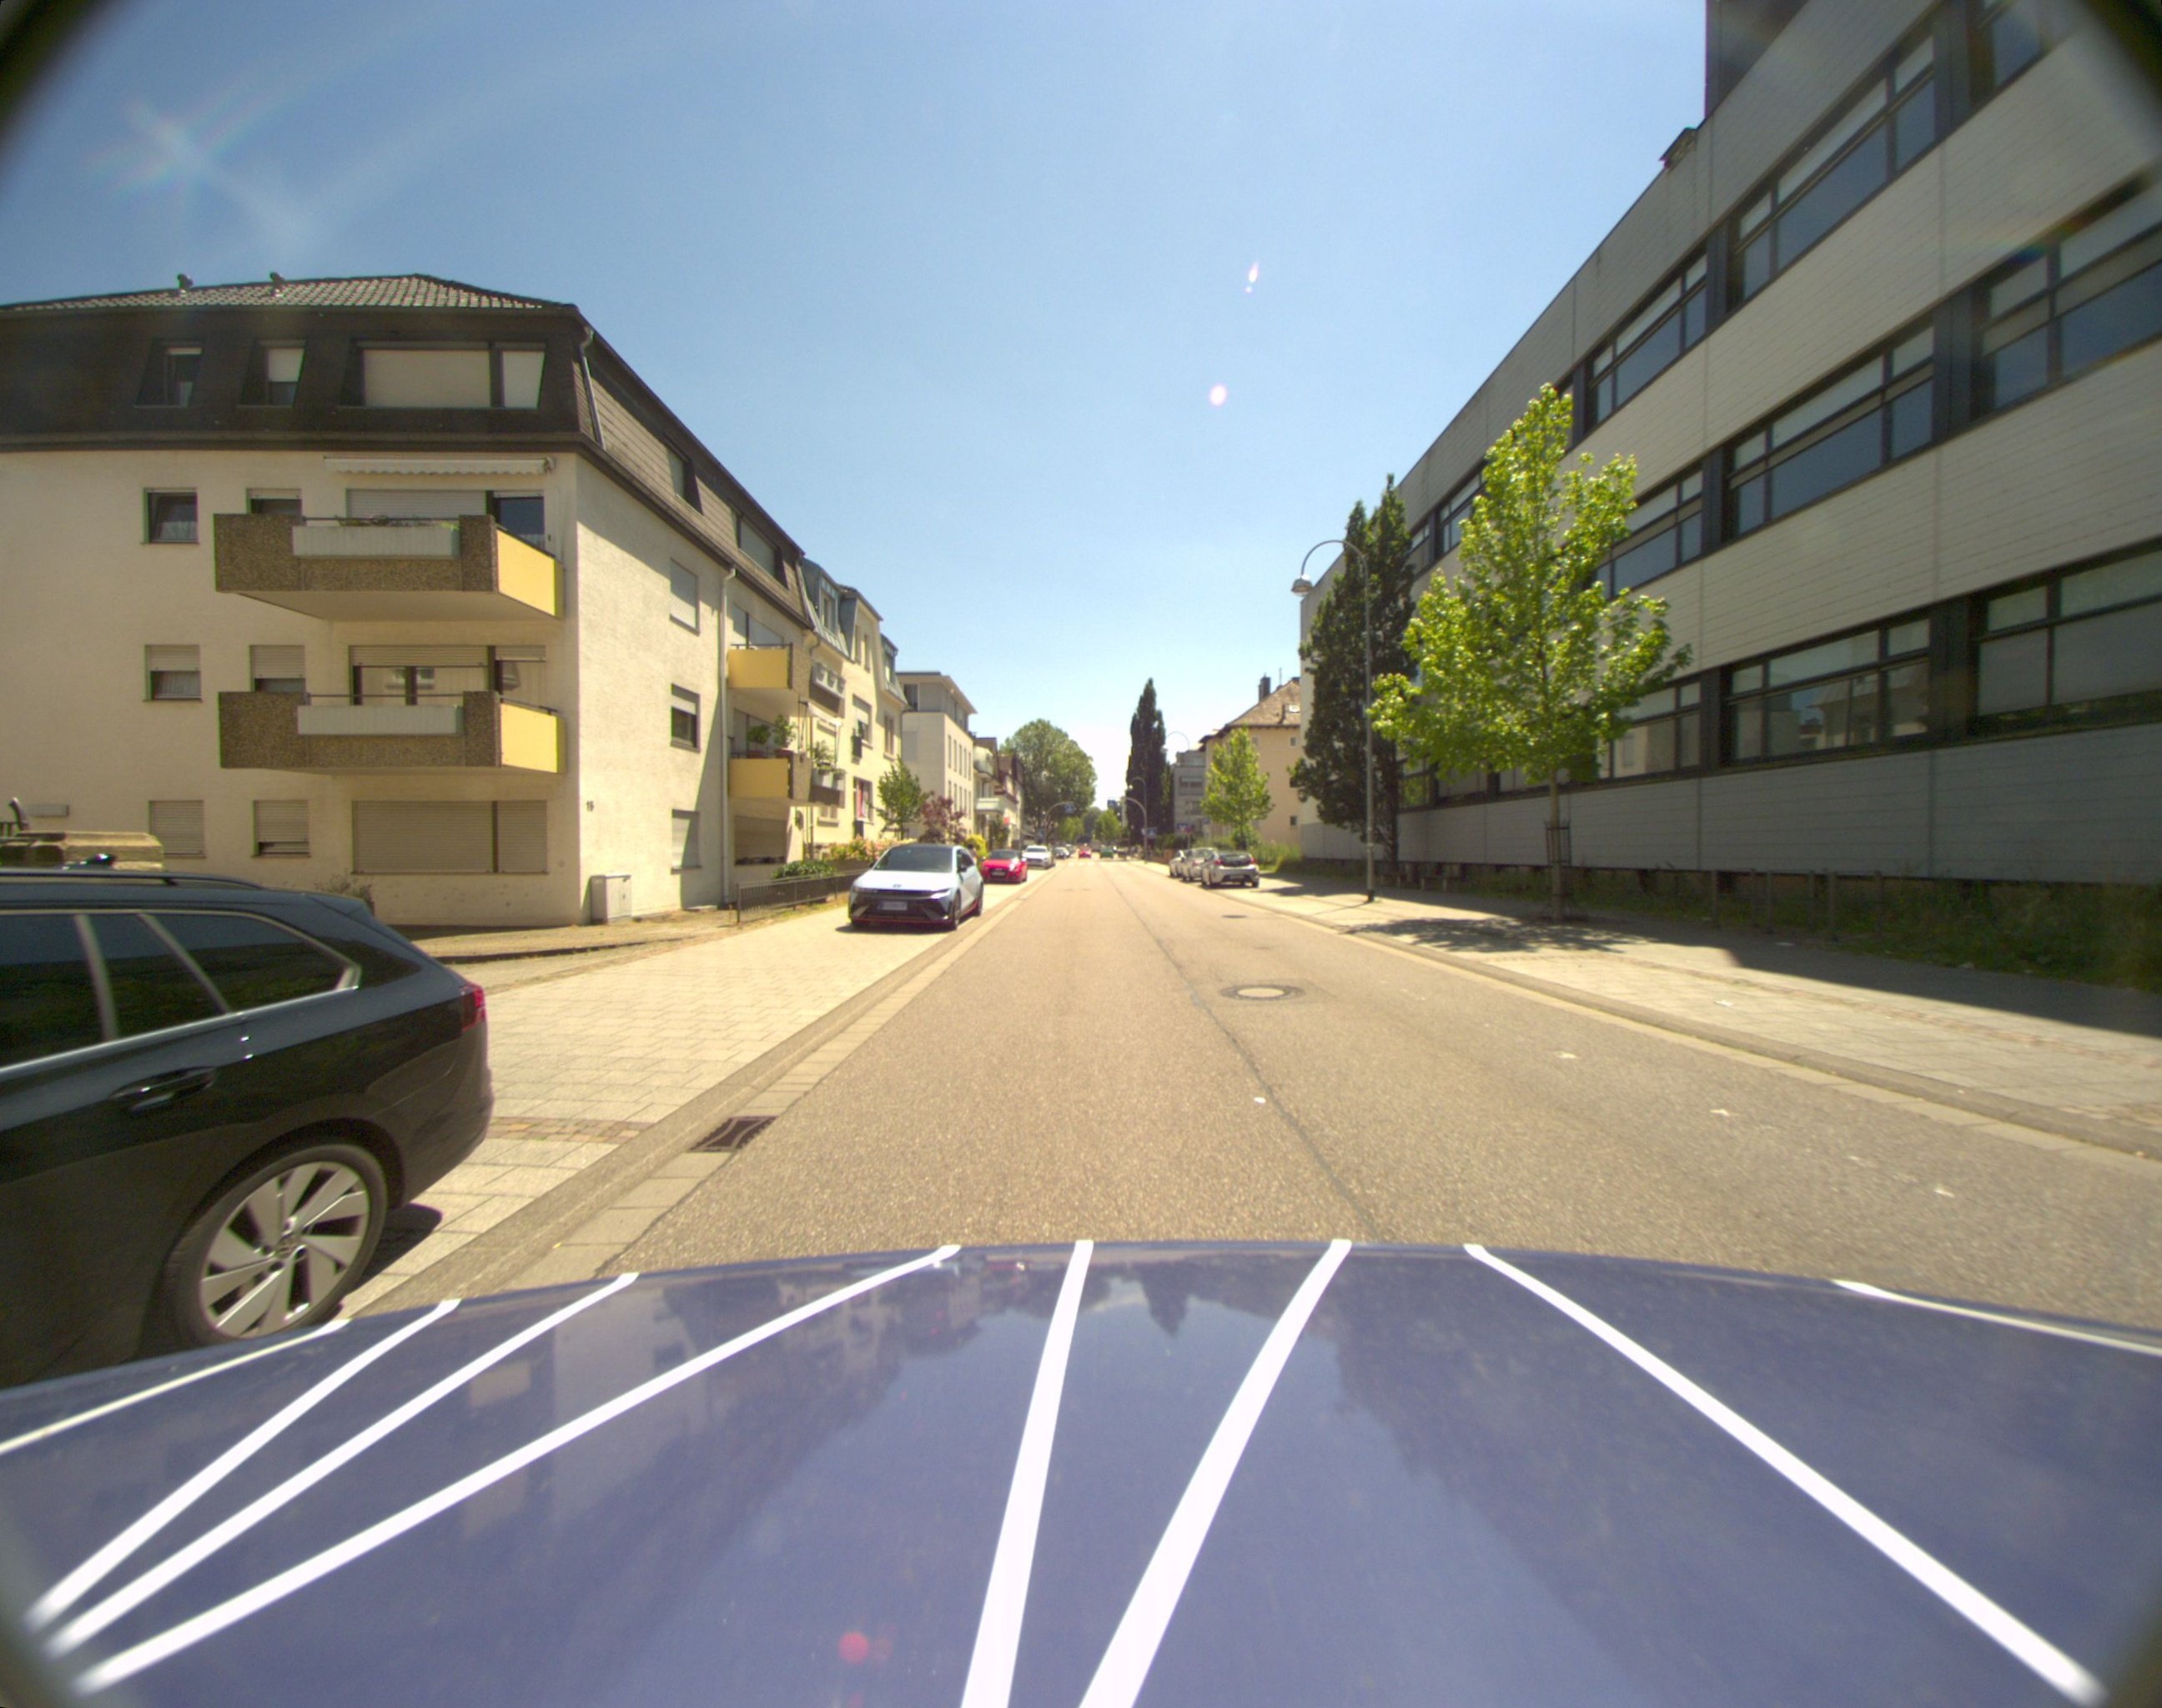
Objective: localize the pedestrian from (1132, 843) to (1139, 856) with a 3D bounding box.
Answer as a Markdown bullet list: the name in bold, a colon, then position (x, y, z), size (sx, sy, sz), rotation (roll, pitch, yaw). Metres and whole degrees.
- **pedestrian**: position (6.972, -0.619, 97.620), size (0.847, 1.636, 0.751), rotation (-3, 2, 2)

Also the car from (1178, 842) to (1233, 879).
- **car**: position (5.663, 0.244, 35.106), size (1.827, 1.503, 4.289), rotation (-2, 1, 1)

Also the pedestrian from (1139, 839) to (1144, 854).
- **pedestrian**: position (6.707, -0.810, 84.364), size (0.538, 1.676, 0.708), rotation (-1, 2, 0)

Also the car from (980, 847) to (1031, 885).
- **car**: position (-3.165, 0.457, 32.576), size (1.607, 1.432, 3.853), rotation (3, 1, 2)

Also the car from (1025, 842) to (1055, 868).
- **car**: position (-2.881, 0.048, 53.644), size (1.709, 1.656, 4.580), rotation (3, 0, 1)

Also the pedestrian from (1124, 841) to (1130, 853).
- **pedestrian**: position (6.401, -0.978, 105.677), size (0.622, 1.667, 0.903), rotation (-2, 1, 0)

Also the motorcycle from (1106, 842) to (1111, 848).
- **motorcycle**: position (4.431, -1.451, 122.556), size (0.700, 1.101, 1.790), rotation (0, 1, 1)

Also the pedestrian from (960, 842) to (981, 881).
- **pedestrian**: position (-4.902, 0.315, 33.705), size (0.742, 1.660, 0.705), rotation (2, 1, -1)

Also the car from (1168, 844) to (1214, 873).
- **car**: position (5.761, 0.196, 40.288), size (1.827, 1.403, 4.576), rotation (-2, 1, 1)

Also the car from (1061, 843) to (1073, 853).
- **car**: position (-1.992, -0.835, 105.686), size (1.562, 1.333, 4.172), rotation (1, 1, 0)

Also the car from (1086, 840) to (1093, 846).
- **car**: position (2.454, -3.253, 216.758), size (1.732, 1.500, 4.291), rotation (-1, 3, -1)

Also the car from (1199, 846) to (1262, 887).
- **car**: position (5.717, 0.426, 29.429), size (1.752, 1.401, 3.933), rotation (-2, 1, 2)

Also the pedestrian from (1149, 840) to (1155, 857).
- **pedestrian**: position (6.879, -0.557, 73.582), size (0.538, 1.676, 0.708), rotation (-1, 2, 0)

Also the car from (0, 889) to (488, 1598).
- **car**: position (-3.204, 0.917, 0.813), size (1.636, 1.438, 4.397), rotation (2, 1, 1)

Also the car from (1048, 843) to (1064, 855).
- **car**: position (-3.060, -0.664, 93.795), size (1.831, 1.418, 4.699), rotation (1, 1, 1)

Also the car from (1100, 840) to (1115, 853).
- **car**: position (3.603, -1.050, 101.669), size (1.826, 1.579, 4.100), rotation (-3, 2, 3)

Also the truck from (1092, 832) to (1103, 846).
- **truck**: position (3.791, -3.375, 171.844), size (2.425, 2.966, 6.258), rotation (0, 1, 3)

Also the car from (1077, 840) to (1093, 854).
- **car**: position (0.539, -0.962, 102.220), size (2.000, 1.880, 4.293), rotation (-2, 1, 0)

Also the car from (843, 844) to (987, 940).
- **car**: position (-3.162, 0.640, 15.455), size (1.848, 1.610, 4.426), rotation (2, 1, 1)
